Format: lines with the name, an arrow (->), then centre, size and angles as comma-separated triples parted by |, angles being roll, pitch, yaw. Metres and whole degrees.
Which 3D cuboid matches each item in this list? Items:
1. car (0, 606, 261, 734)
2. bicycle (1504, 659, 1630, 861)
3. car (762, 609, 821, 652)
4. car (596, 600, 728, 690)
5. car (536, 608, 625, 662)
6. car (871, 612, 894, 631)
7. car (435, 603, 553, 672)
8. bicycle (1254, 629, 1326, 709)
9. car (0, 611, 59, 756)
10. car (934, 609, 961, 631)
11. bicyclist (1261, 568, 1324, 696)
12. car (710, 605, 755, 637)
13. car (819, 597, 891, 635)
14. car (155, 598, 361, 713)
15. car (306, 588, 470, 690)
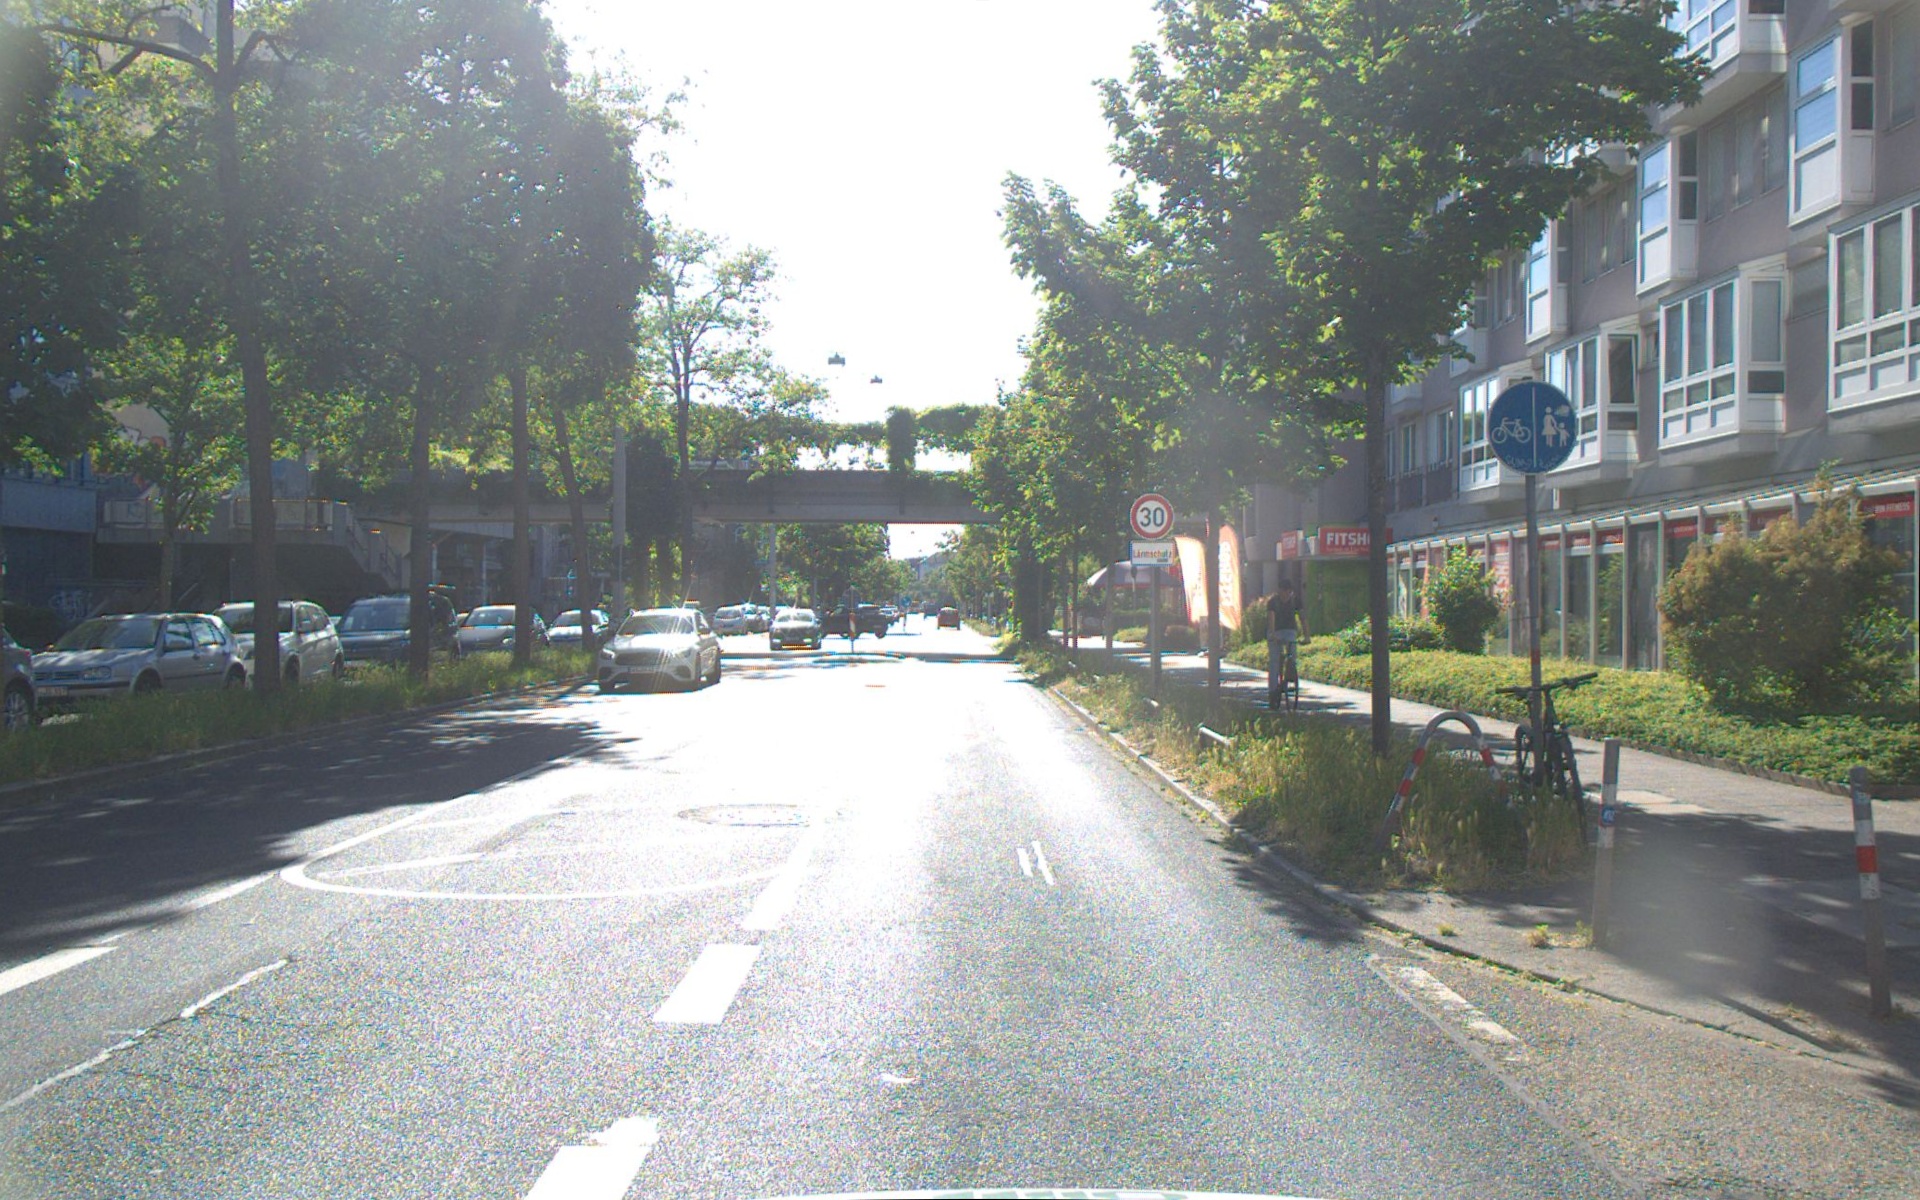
car -> -11.361, 0.883, 22.585 | 1.817, 1.549, 4.063 | 1, 0, 1
bicycle -> 3.815, 0.951, 10.504 | 0.578, 1.084, 2.024 | 0, 0, 15
car -> -6.216, 1.106, 61.405 | 1.818, 1.465, 4.317 | -1, 0, -2
car -> -5.746, 0.831, 32.405 | 1.818, 1.595, 4.714 | -1, 0, -1
car -> -11.631, 1.042, 50.996 | 1.818, 1.549, 4.317 | 1, 0, -2
car -> -6.700, 1.851, 143.426 | 1.818, 1.549, 4.317 | 1, 0, -2
car -> -11.572, 0.900, 41.342 | 1.818, 1.595, 3.871 | 1, 0, 0
bicycle -> 4.542, 0.935, 22.870 | 0.577, 1.045, 1.859 | 0, -1, -2
car -> -11.266, 0.887, 16.864 | 1.818, 1.549, 4.317 | 1, 0, -1
car -> -0.913, 1.421, 119.907 | 1.817, 1.549, 4.319 | 1, 0, 1
bicyclist -> 4.580, 0.440, 22.818 | 0.654, 1.725, 0.889 | 1, -1, -2
car -> -11.648, 1.057, 84.815 | 1.818, 1.549, 4.076 | 1, 0, -2
car -> -4.821, 0.713, 75.507 | 1.959, 1.628, 4.108 | 1, 0, -25
car -> -11.505, 0.849, 27.456 | 1.820, 1.713, 4.659 | 1, 0, -6
car -> -11.465, 0.757, 33.490 | 1.818, 1.882, 4.560 | 1, 0, -2
